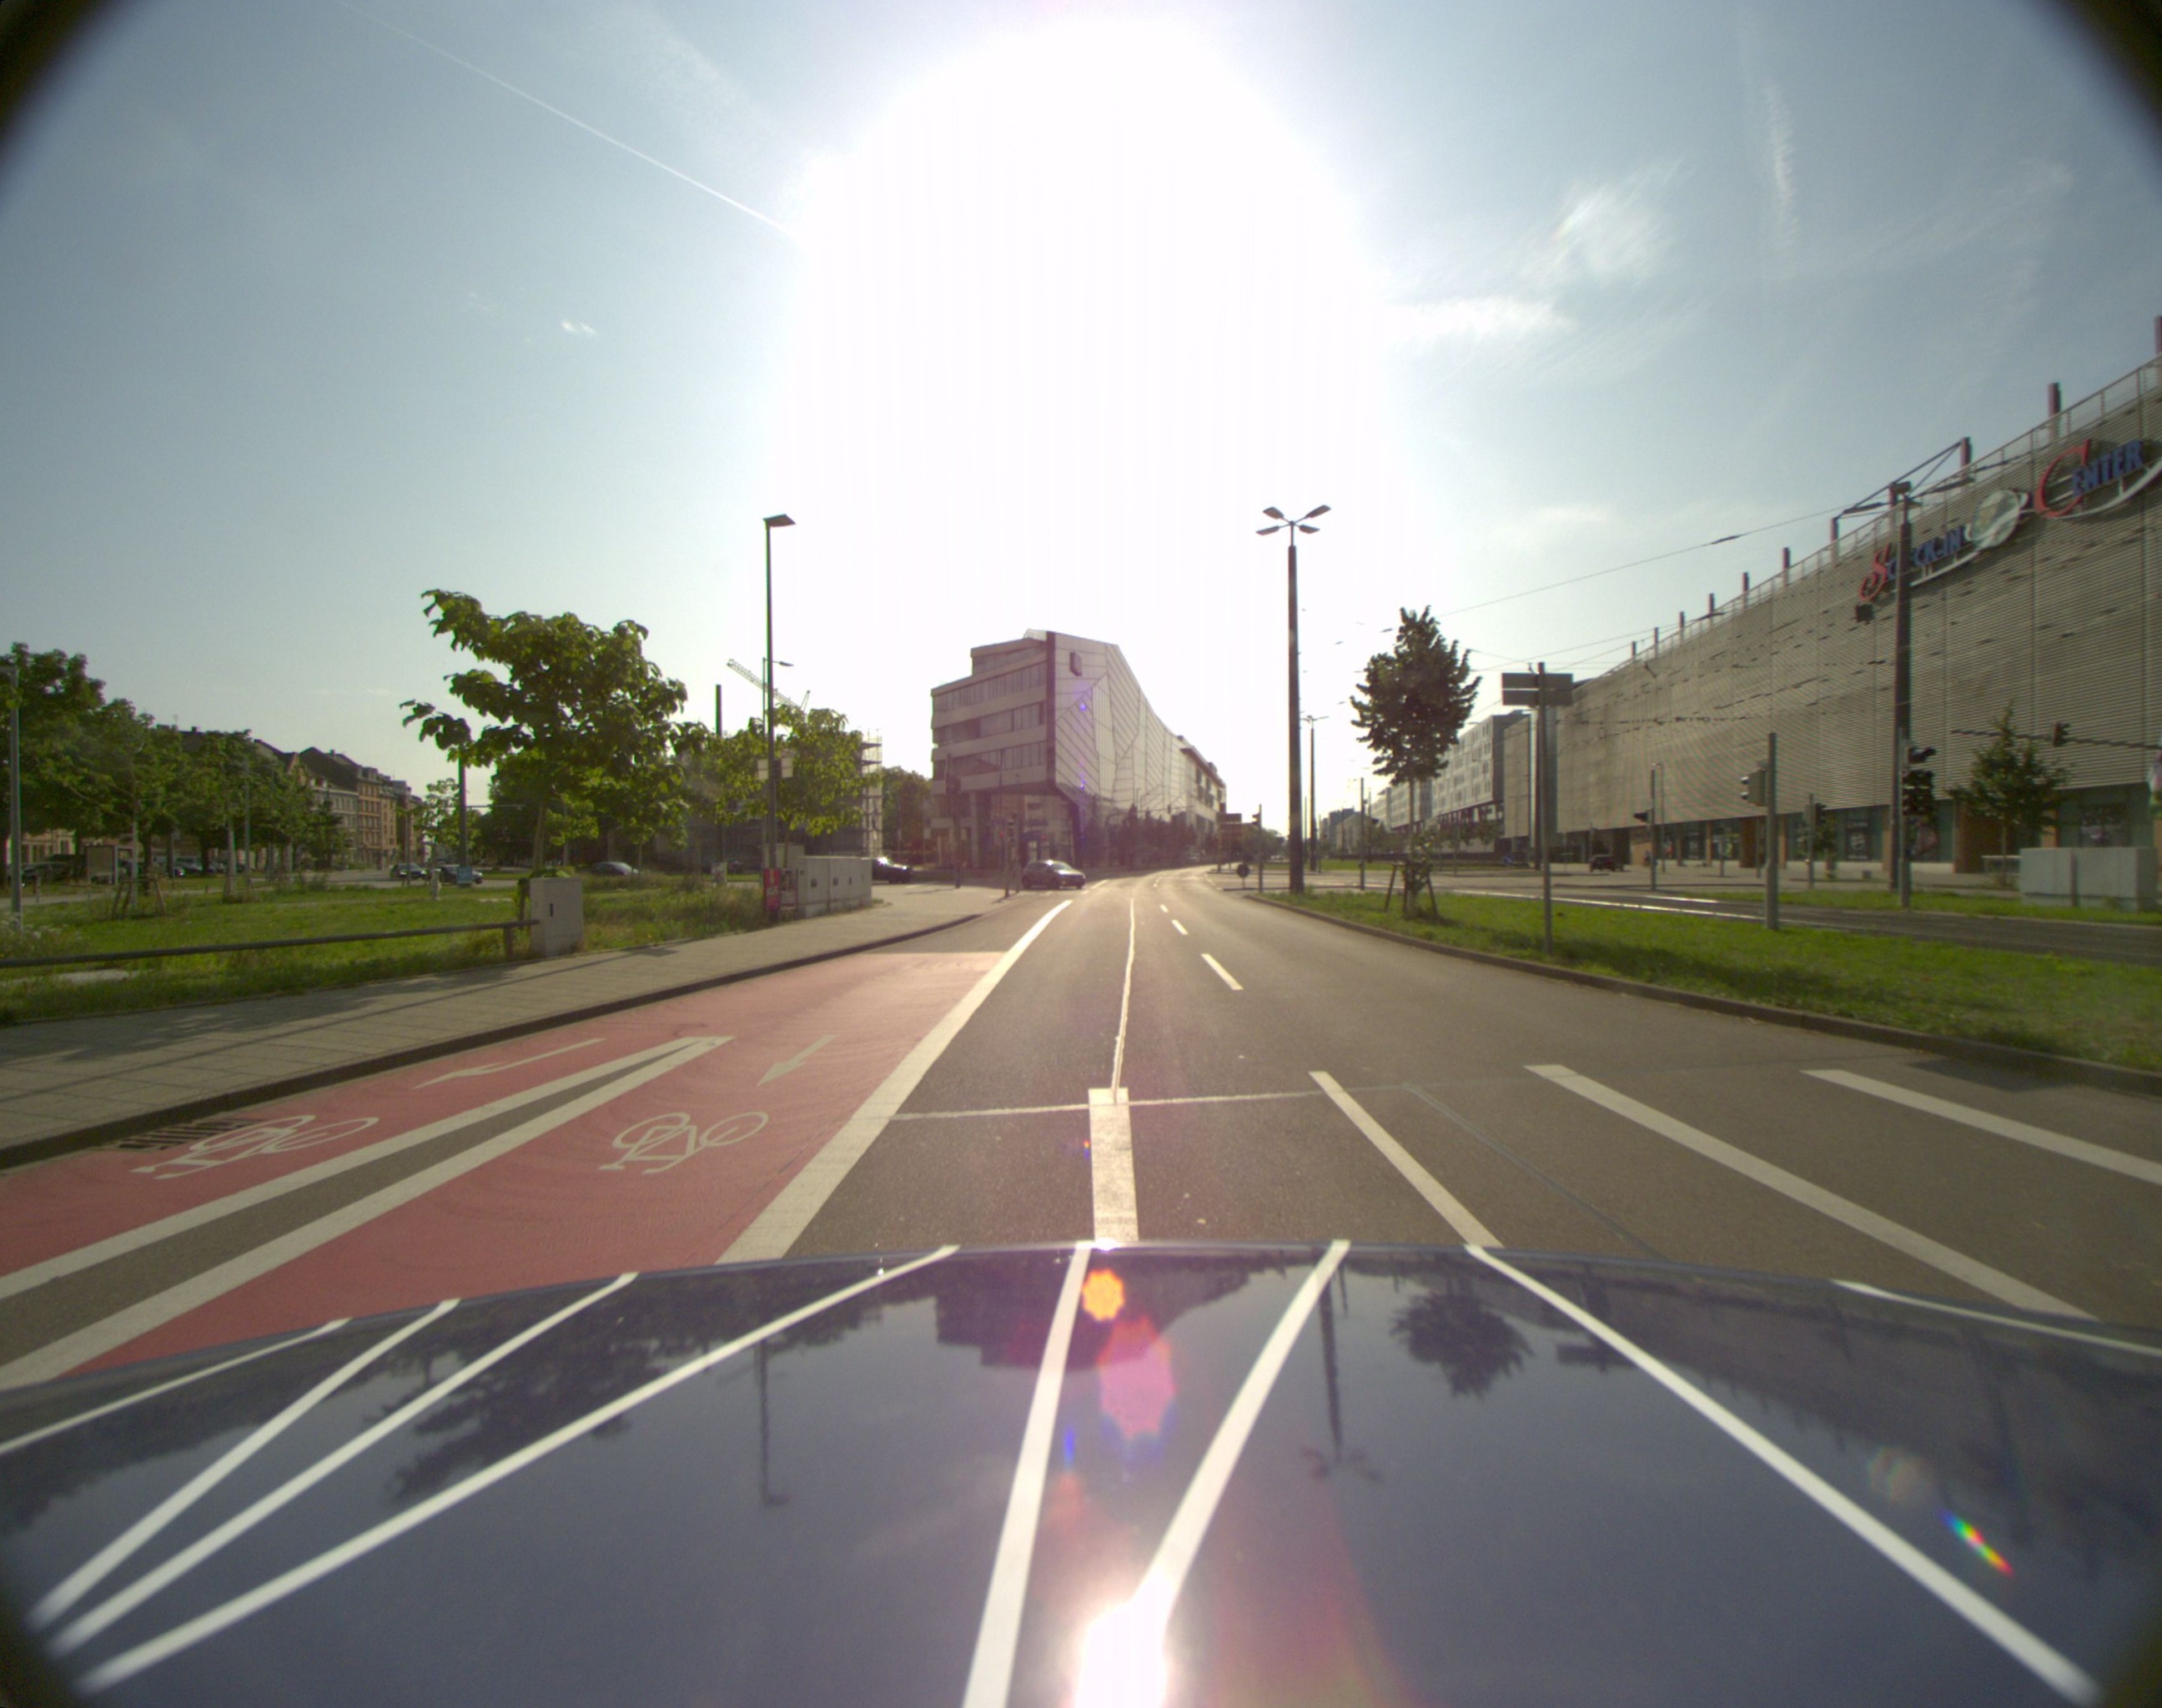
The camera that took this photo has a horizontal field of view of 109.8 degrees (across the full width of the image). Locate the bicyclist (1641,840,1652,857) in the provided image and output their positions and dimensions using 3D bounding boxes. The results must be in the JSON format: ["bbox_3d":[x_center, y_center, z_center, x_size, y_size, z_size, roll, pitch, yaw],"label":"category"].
[{"bbox_3d":[53.939,-0.522,72.507,0.567,1.621,0.715,0,2,13],"label":"bicyclist"}]

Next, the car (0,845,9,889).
[{"bbox_3d":[-55.430,0.667,35.996,1.875,2.166,5.055,0,0,23],"label":"car"}]

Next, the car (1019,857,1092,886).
[{"bbox_3d":[-1.354,0.871,39.207,1.648,1.411,3.884,-1,1,-43],"label":"car"}]

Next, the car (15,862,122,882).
[{"bbox_3d":[-66.855,1.169,50.264,1.718,1.242,3.861,-1,0,16],"label":"car"}]

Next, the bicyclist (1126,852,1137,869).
[{"bbox_3d":[4.813,0.632,72.412,0.782,1.577,0.933,0,2,21],"label":"bicyclist"}]

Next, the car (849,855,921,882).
[{"bbox_3d":[-12.731,0.947,49.439,4.213,1.668,1.805,-1,0,13],"label":"car"}]

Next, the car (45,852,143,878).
[{"bbox_3d":[-70.827,0.784,54.599,1.782,1.795,3.861,0,0,19],"label":"car"}]

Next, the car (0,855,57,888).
[{"bbox_3d":[-57.004,0.936,39.551,1.876,1.696,3.989,-1,0,16],"label":"car"}]

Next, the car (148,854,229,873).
[{"bbox_3d":[-87.767,0.981,74.848,1.719,1.827,4.932,0,-1,11],"label":"car"}]

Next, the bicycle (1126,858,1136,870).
[{"bbox_3d":[4.802,0.943,72.463,0.418,1.050,1.962,0,2,21],"label":"bicycle"}]

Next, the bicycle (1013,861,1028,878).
[{"bbox_3d":[-4.031,1.015,50.658,0.669,1.092,1.805,0,2,4],"label":"bicycle"}]

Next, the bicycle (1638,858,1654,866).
[{"bbox_3d":[53.944,0.784,72.567,0.581,0.775,1.871,0,0,15],"label":"bicycle"}]

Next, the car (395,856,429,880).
[{"bbox_3d":[-58.205,1.228,66.144,2.004,2.002,3.989,-1,0,-39],"label":"car"}]

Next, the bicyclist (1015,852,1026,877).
[{"bbox_3d":[-4.027,0.699,50.742,0.669,1.693,0.637,0,2,4],"label":"bicyclist"}]

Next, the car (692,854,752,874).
[{"bbox_3d":[-32.386,0.884,68.559,4.804,1.773,1.957,0,2,18],"label":"car"}]

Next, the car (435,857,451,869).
[{"bbox_3d":[-115.450,1.630,137.423,2.004,1.968,3.988,-2,2,-41],"label":"car"}]
